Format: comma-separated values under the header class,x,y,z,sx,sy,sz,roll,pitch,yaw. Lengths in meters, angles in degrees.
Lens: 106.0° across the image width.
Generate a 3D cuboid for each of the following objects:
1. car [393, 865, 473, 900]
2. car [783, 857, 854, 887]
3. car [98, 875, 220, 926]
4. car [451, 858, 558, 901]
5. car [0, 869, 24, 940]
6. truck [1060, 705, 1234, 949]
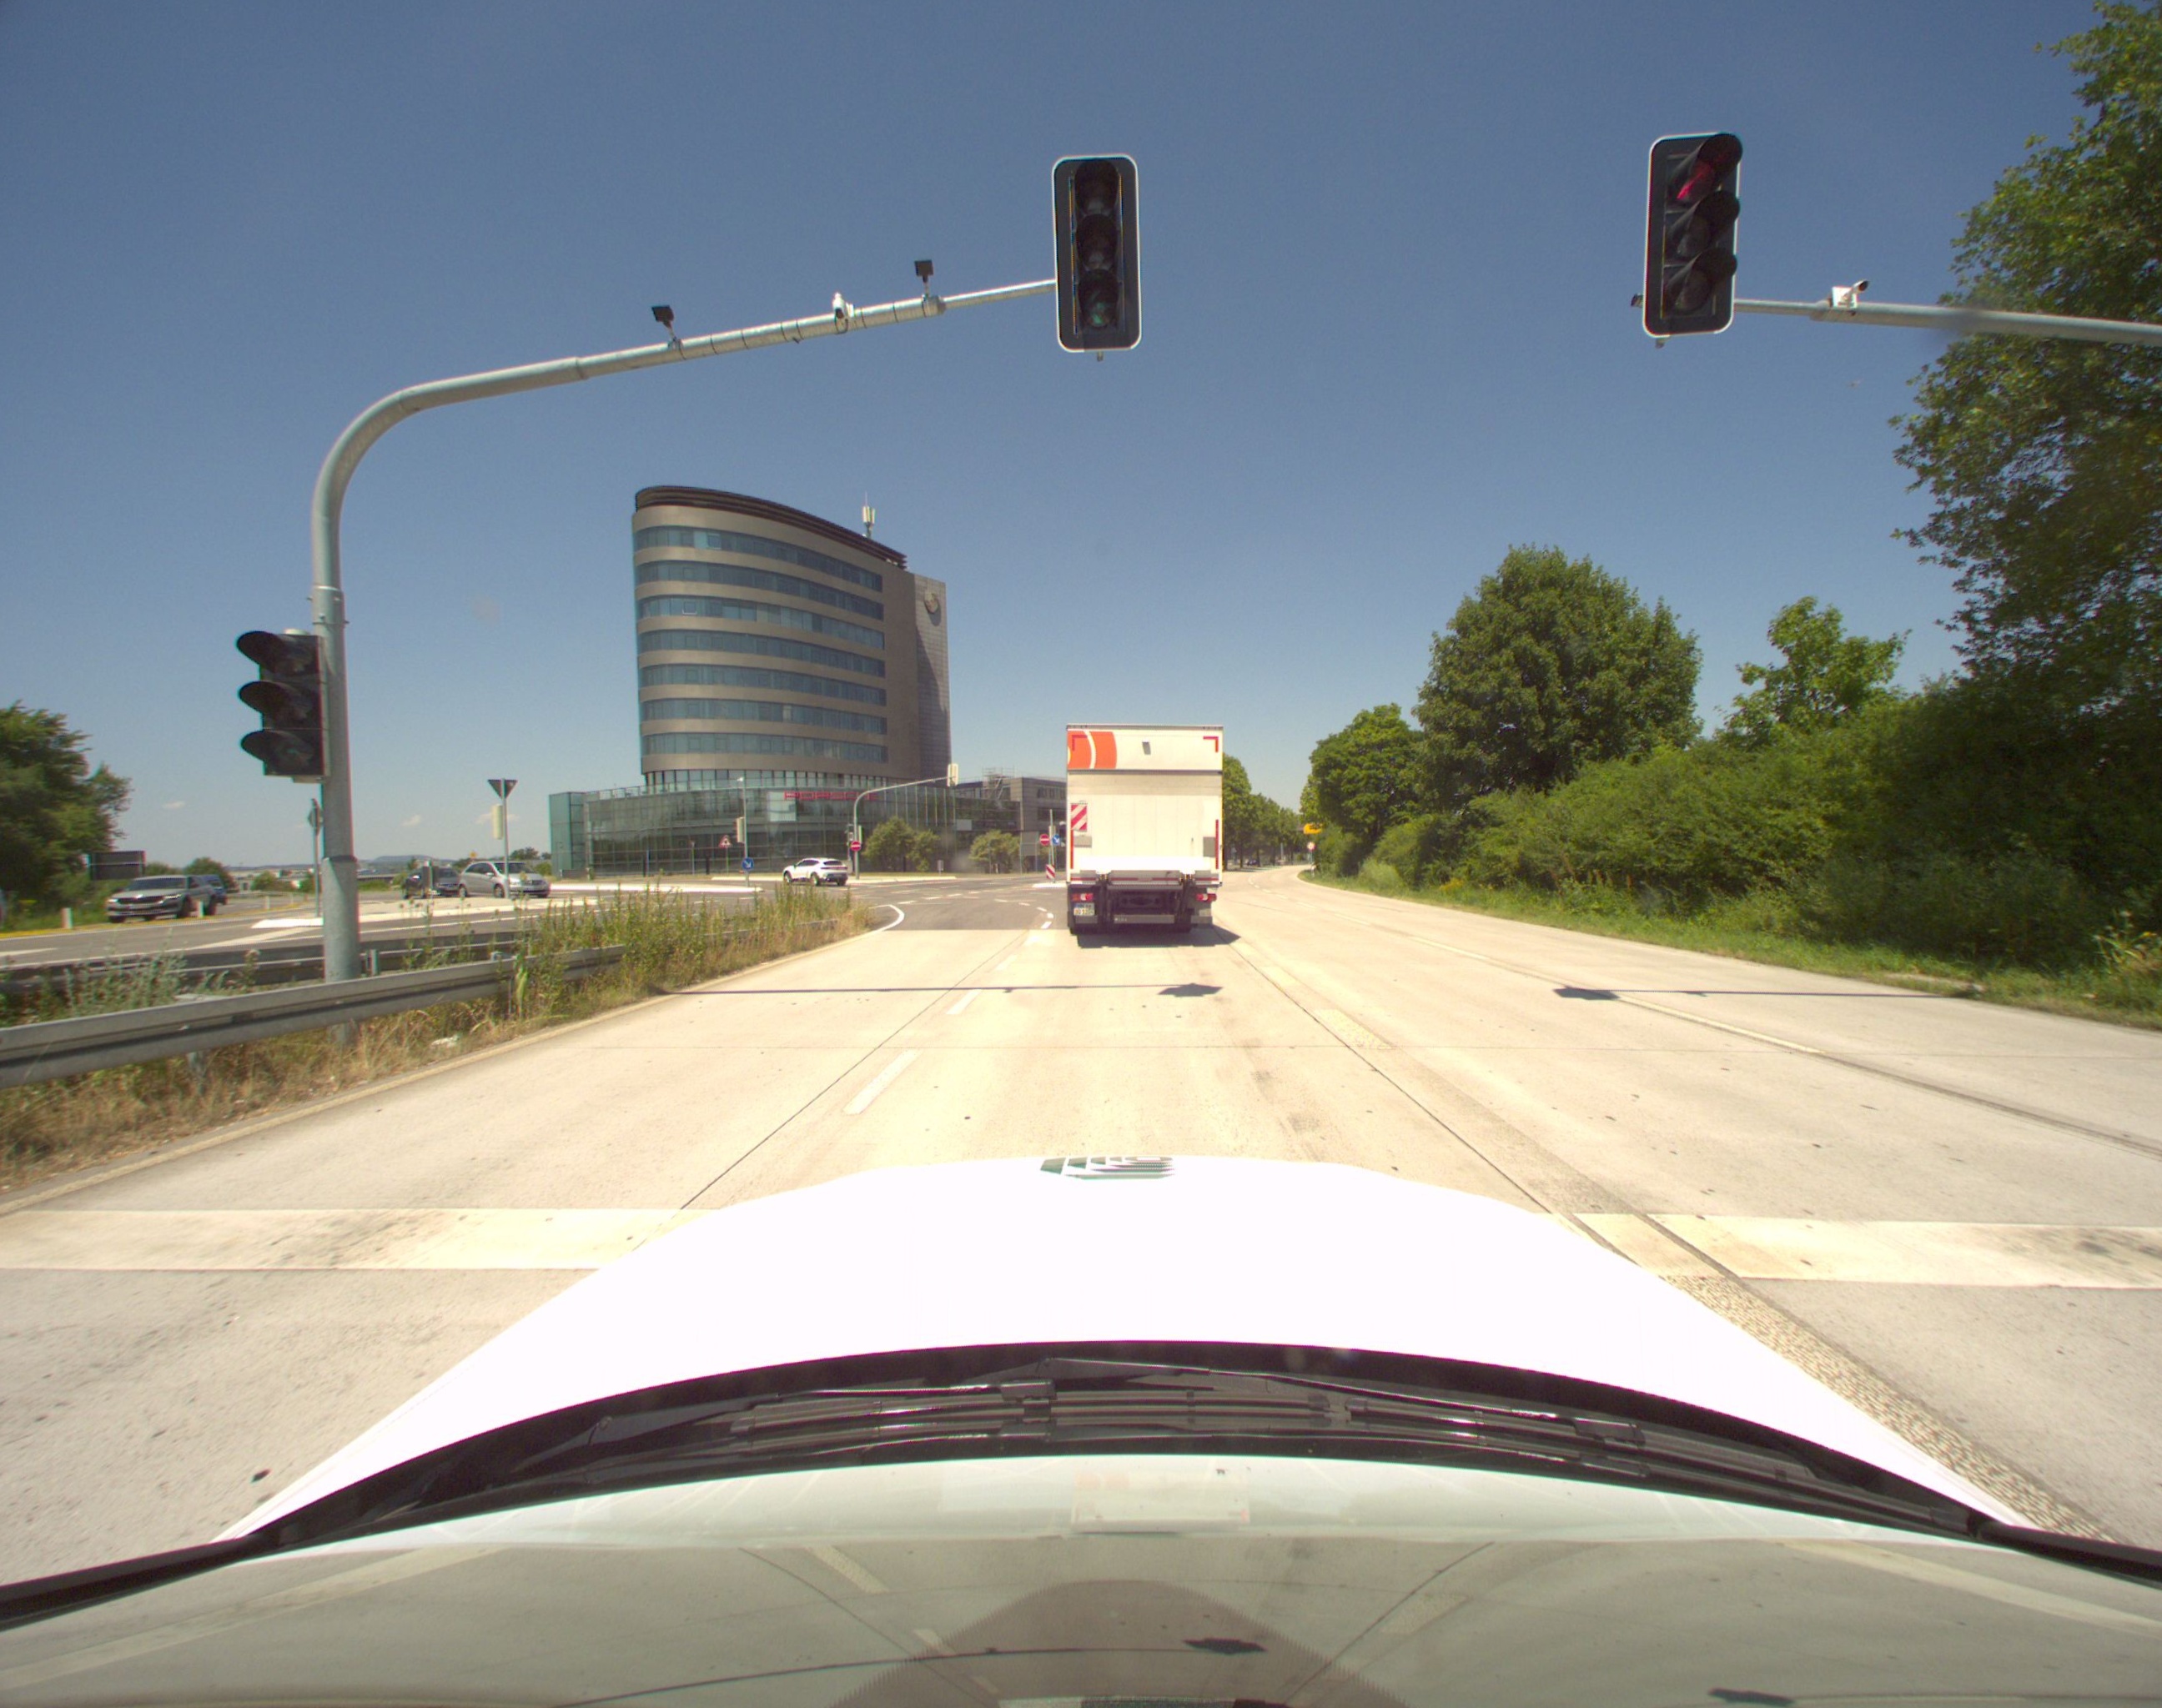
class,x,y,z,sx,sy,sz,roll,pitch,yaw
car,-30.029,1.340,37.693,4.273,1.456,1.708,-3,-2,34
car,-14.306,0.967,44.266,3.948,1.557,1.819,-1,-1,39
car,-34.380,1.673,30.522,2.009,1.692,4.606,0,-1,-35
car,-23.720,1.068,33.475,4.275,1.595,1.787,-3,-2,27
car,-27.431,1.261,18.666,2.004,1.773,4.814,0,-1,-27
truck,0.952,-0.374,17.622,2.762,3.860,9.364,0,-1,-1
